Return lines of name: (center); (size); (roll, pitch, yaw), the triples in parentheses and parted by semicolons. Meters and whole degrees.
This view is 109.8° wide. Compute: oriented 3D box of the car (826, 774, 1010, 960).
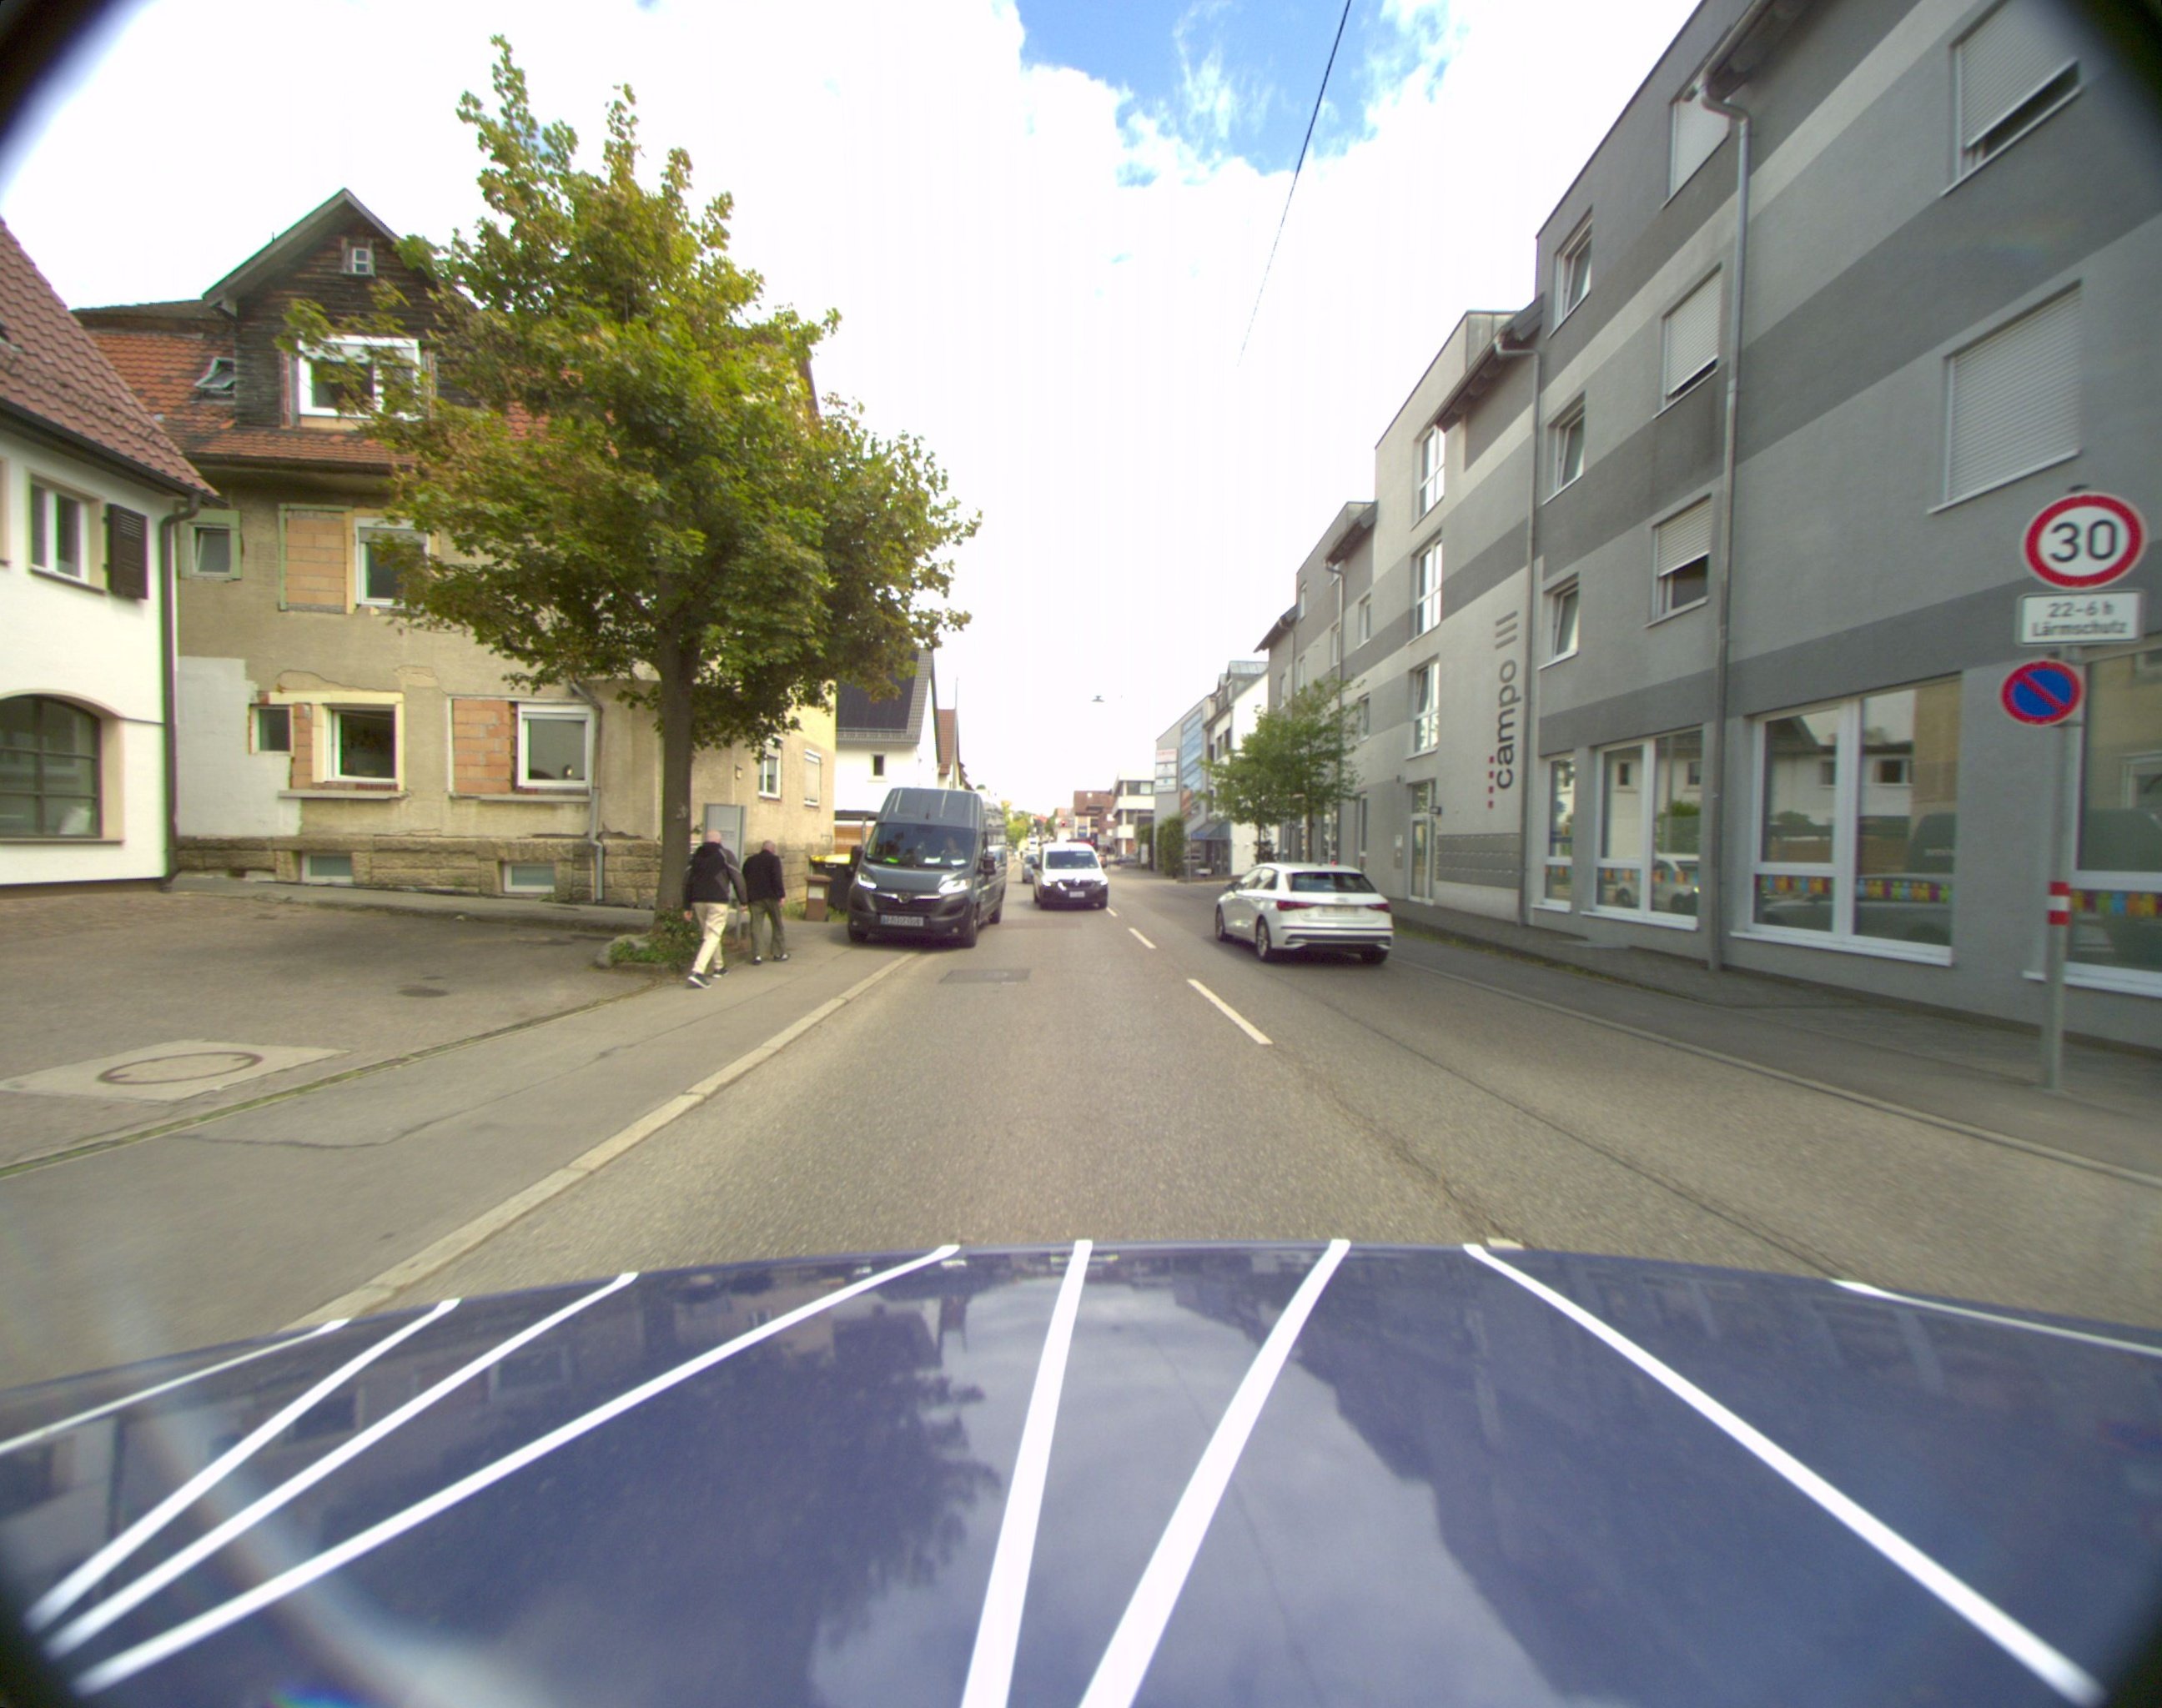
car: (-2.725, 0.169, 14.430); (2.153, 2.754, 6.248); (1, 1, 0)

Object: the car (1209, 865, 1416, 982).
car: (3.345, 0.922, 11.888); (1.879, 1.416, 4.114); (0, 1, -2)

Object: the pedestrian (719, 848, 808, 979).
pedestrian: (-4.112, 0.737, 9.888); (0.786, 1.633, 0.798); (1, 1, 4)

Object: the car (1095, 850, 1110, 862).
car: (2.874, 0.266, 101.571); (1.840, 1.419, 4.218); (0, 1, 0)

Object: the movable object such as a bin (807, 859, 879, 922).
movable object such as a bin: (-5.052, 0.738, 16.096); (1.188, 1.258, 1.206); (0, 1, -33)

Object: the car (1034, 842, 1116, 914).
car: (-0.299, 0.578, 21.747); (1.872, 1.805, 5.003); (0, 1, -6)

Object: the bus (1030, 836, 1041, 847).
bus: (-14.278, -3.880, 235.863); (3.134, 3.239, 9.745); (0, 1, -5)

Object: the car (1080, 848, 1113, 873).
car: (1.045, 0.399, 53.327); (1.903, 1.550, 4.798); (3, 0, -3)

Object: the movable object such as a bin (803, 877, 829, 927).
movable object such as a bin: (-5.242, 0.949, 15.034); (0.410, 0.933, 0.273); (4, 1, -13)

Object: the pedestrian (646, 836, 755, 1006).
pedestrian: (-4.144, 0.695, 8.340); (0.742, 1.772, 0.899); (0, 1, -1)

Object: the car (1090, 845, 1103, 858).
car: (2.280, -0.371, 113.358); (1.702, 1.766, 4.461); (0, 1, 4)

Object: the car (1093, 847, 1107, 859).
car: (2.744, -0.148, 108.271); (1.809, 1.521, 4.000); (0, 1, 4)
